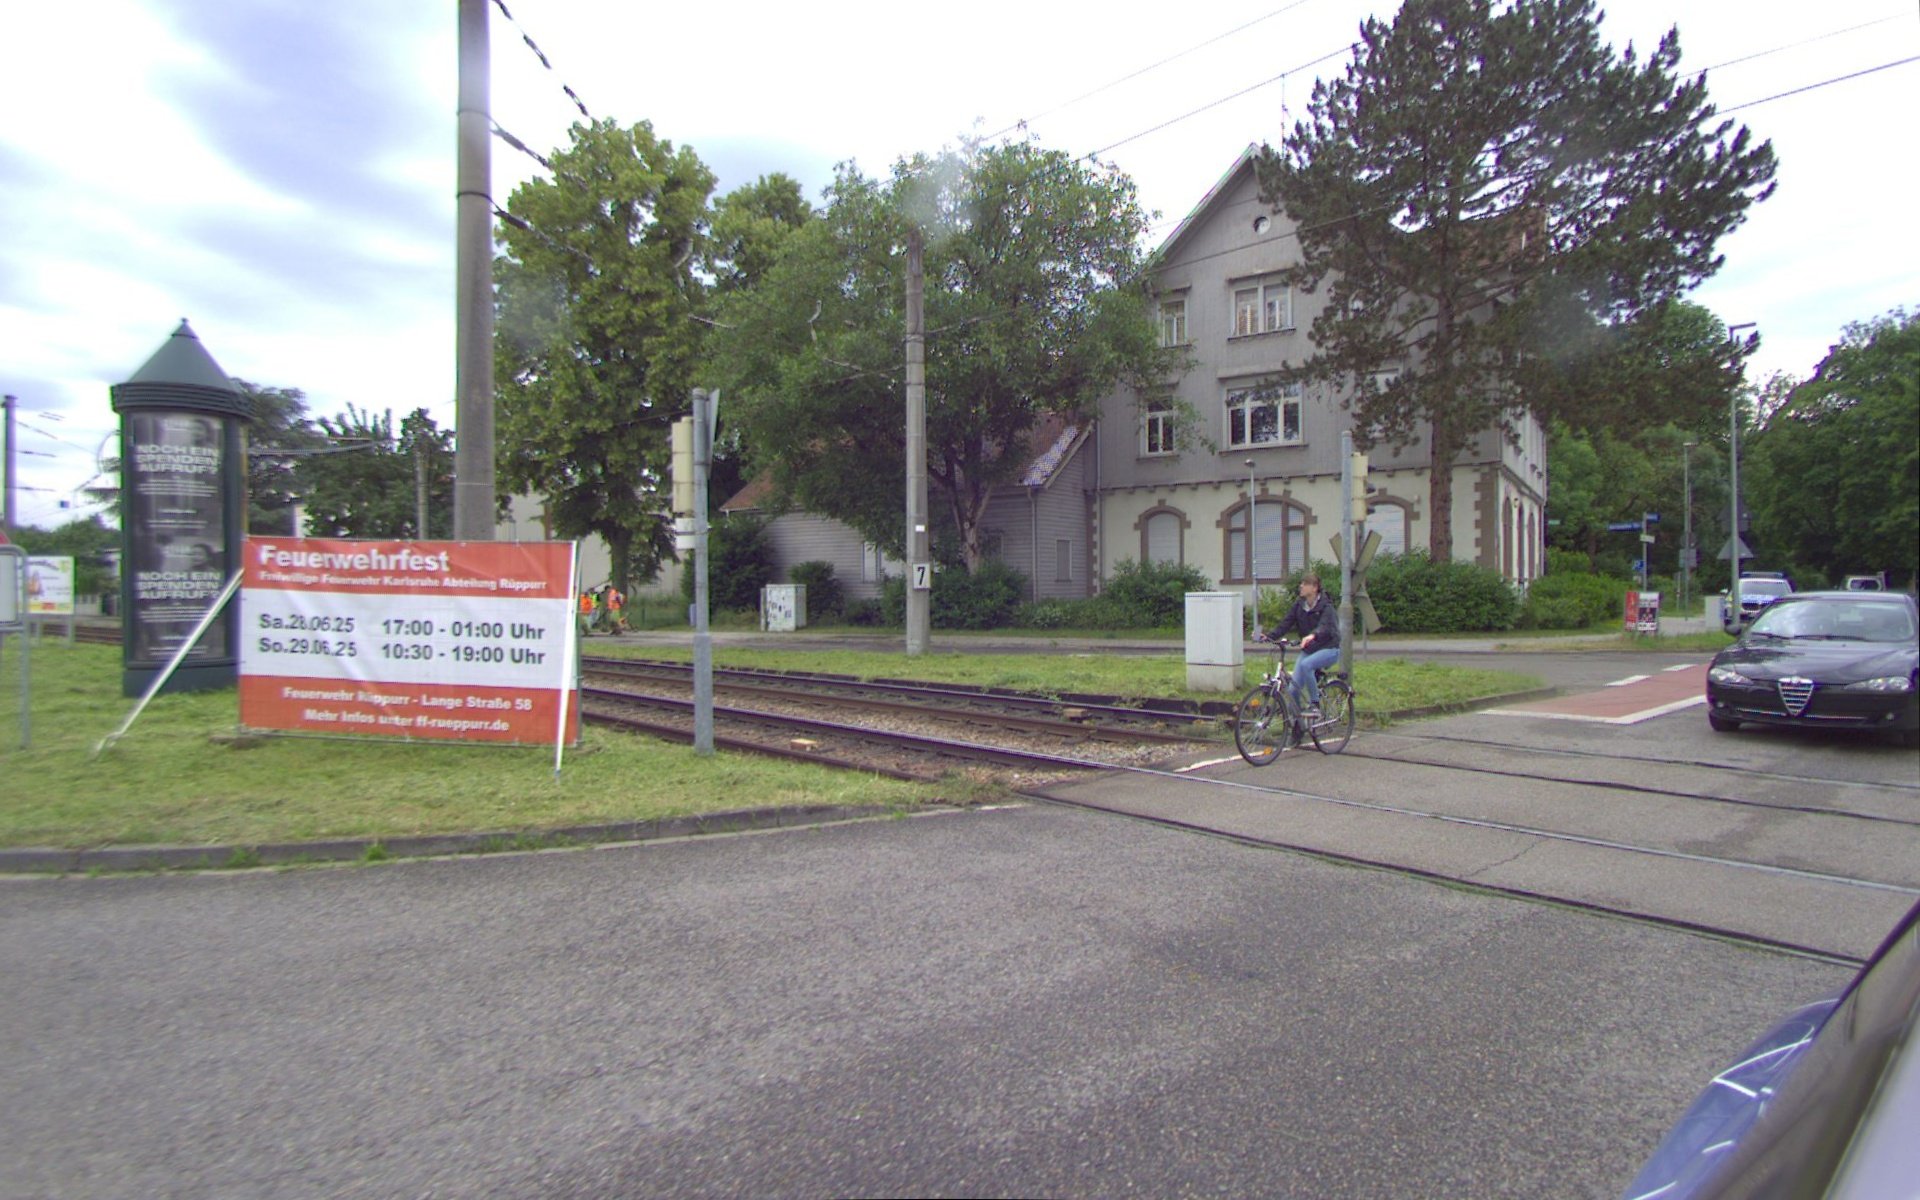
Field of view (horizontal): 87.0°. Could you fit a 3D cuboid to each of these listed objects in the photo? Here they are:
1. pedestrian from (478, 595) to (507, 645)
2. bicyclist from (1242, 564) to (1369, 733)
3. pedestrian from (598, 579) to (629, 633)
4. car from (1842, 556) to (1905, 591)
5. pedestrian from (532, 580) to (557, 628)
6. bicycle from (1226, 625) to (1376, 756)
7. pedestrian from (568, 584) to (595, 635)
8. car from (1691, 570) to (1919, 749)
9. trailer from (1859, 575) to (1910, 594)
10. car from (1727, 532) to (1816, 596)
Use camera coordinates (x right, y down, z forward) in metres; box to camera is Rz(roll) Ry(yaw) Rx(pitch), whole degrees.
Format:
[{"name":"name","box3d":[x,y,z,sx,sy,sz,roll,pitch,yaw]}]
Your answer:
[{"name":"pedestrian","box3d":[-18.048,0.760,39.077,0.600,1.892,0.762,-1,1,34]},{"name":"bicyclist","box3d":[3.172,0.424,9.285,0.945,1.443,0.622,-3,-2,-42]},{"name":"pedestrian","box3d":[-12.330,0.207,35.997,0.858,1.878,0.679,-1,1,-39]},{"name":"car","box3d":[53.139,-1.542,58.945,2.080,1.880,4.172,-1,1,34]},{"name":"pedestrian","box3d":[-16.383,0.158,39.904,0.700,1.863,0.609,-1,1,4]},{"name":"bicycle","box3d":[3.218,0.794,9.426,1.995,0.992,0.383,-3,2,-42]},{"name":"pedestrian","box3d":[-13.458,0.334,35.990,0.570,1.784,0.630,-1,1,28]},{"name":"car","box3d":[9.458,0.462,10.726,4.462,1.475,1.801,-3,2,-41]},{"name":"trailer","box3d":[51.028,-0.855,55.925,1.561,0.998,3.424,0,1,34]},{"name":"car","box3d":[25.533,-1.168,31.970,1.925,1.872,3.949,2,3,36]}]
